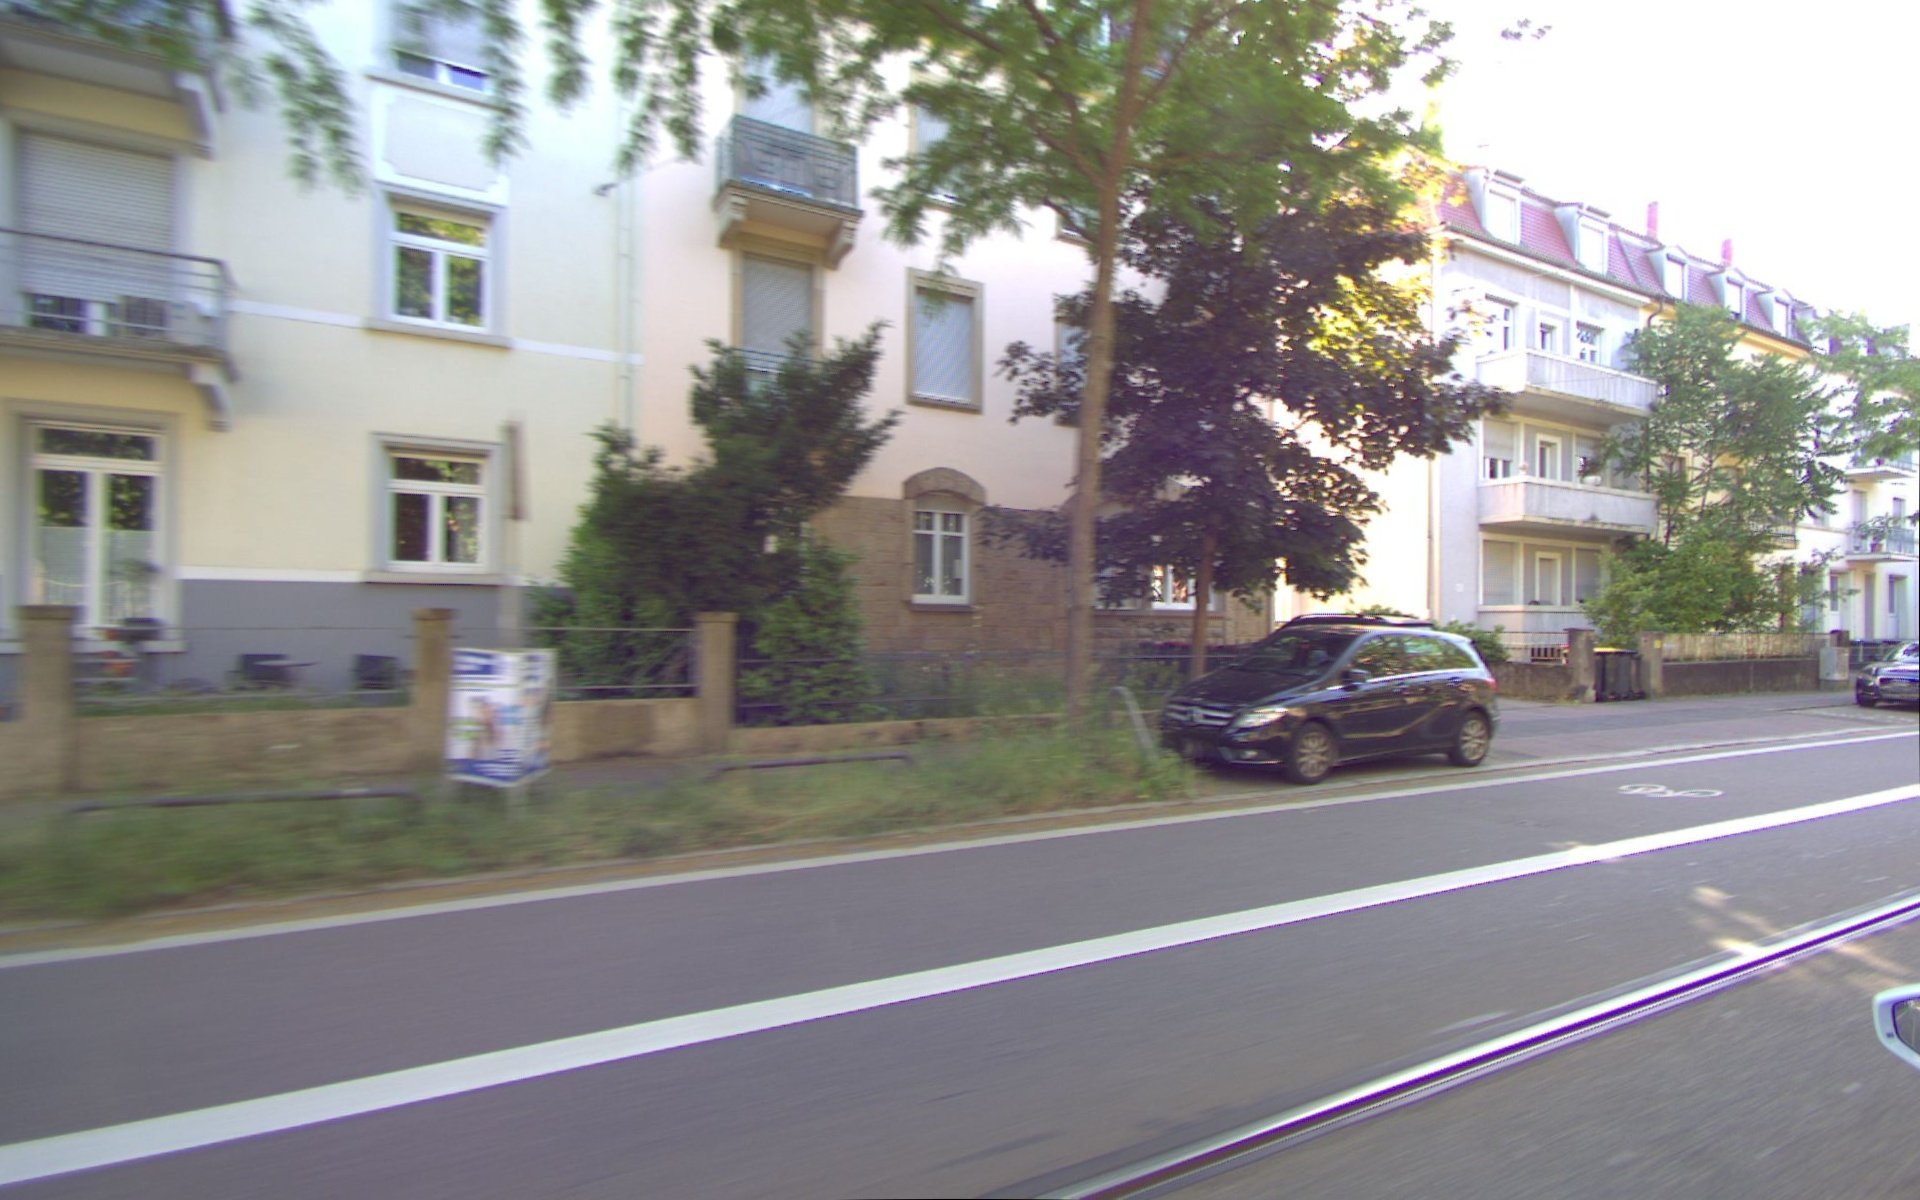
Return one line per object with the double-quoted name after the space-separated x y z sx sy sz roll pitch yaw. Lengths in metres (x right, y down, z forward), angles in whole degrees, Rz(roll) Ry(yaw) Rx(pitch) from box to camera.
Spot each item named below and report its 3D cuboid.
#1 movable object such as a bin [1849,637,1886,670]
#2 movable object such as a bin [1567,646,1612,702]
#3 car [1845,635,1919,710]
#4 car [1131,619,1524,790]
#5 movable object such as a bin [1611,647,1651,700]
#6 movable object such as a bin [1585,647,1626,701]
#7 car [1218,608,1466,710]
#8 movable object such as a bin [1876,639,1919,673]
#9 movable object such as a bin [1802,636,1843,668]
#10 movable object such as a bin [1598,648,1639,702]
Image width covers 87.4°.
30.728 1.813 34.019 0.723 1.060 0.705 1 1 -27 "movable object such as a bin"
12.716 1.487 20.283 0.662 1.080 0.538 1 -1 -30 "movable object such as a bin"
20.517 1.481 21.116 4.285 1.425 1.696 1 0 -32 "car"
4.233 1.044 11.375 4.433 1.562 1.768 1 0 -31 "car"
14.110 1.542 21.116 0.504 1.080 0.534 1 -1 -30 "movable object such as a bin"
13.226 1.511 20.590 0.504 1.080 0.544 1 -1 -30 "movable object such as a bin"
7.193 1.037 19.336 1.961 1.681 4.144 1 0 -31 "car"
31.092 1.838 33.301 0.723 1.060 0.841 1 1 -27 "movable object such as a bin"
29.698 1.778 34.581 0.723 1.060 0.841 1 1 -27 "movable object such as a bin"
13.667 1.546 20.857 0.504 1.080 0.544 1 -1 -30 "movable object such as a bin"
